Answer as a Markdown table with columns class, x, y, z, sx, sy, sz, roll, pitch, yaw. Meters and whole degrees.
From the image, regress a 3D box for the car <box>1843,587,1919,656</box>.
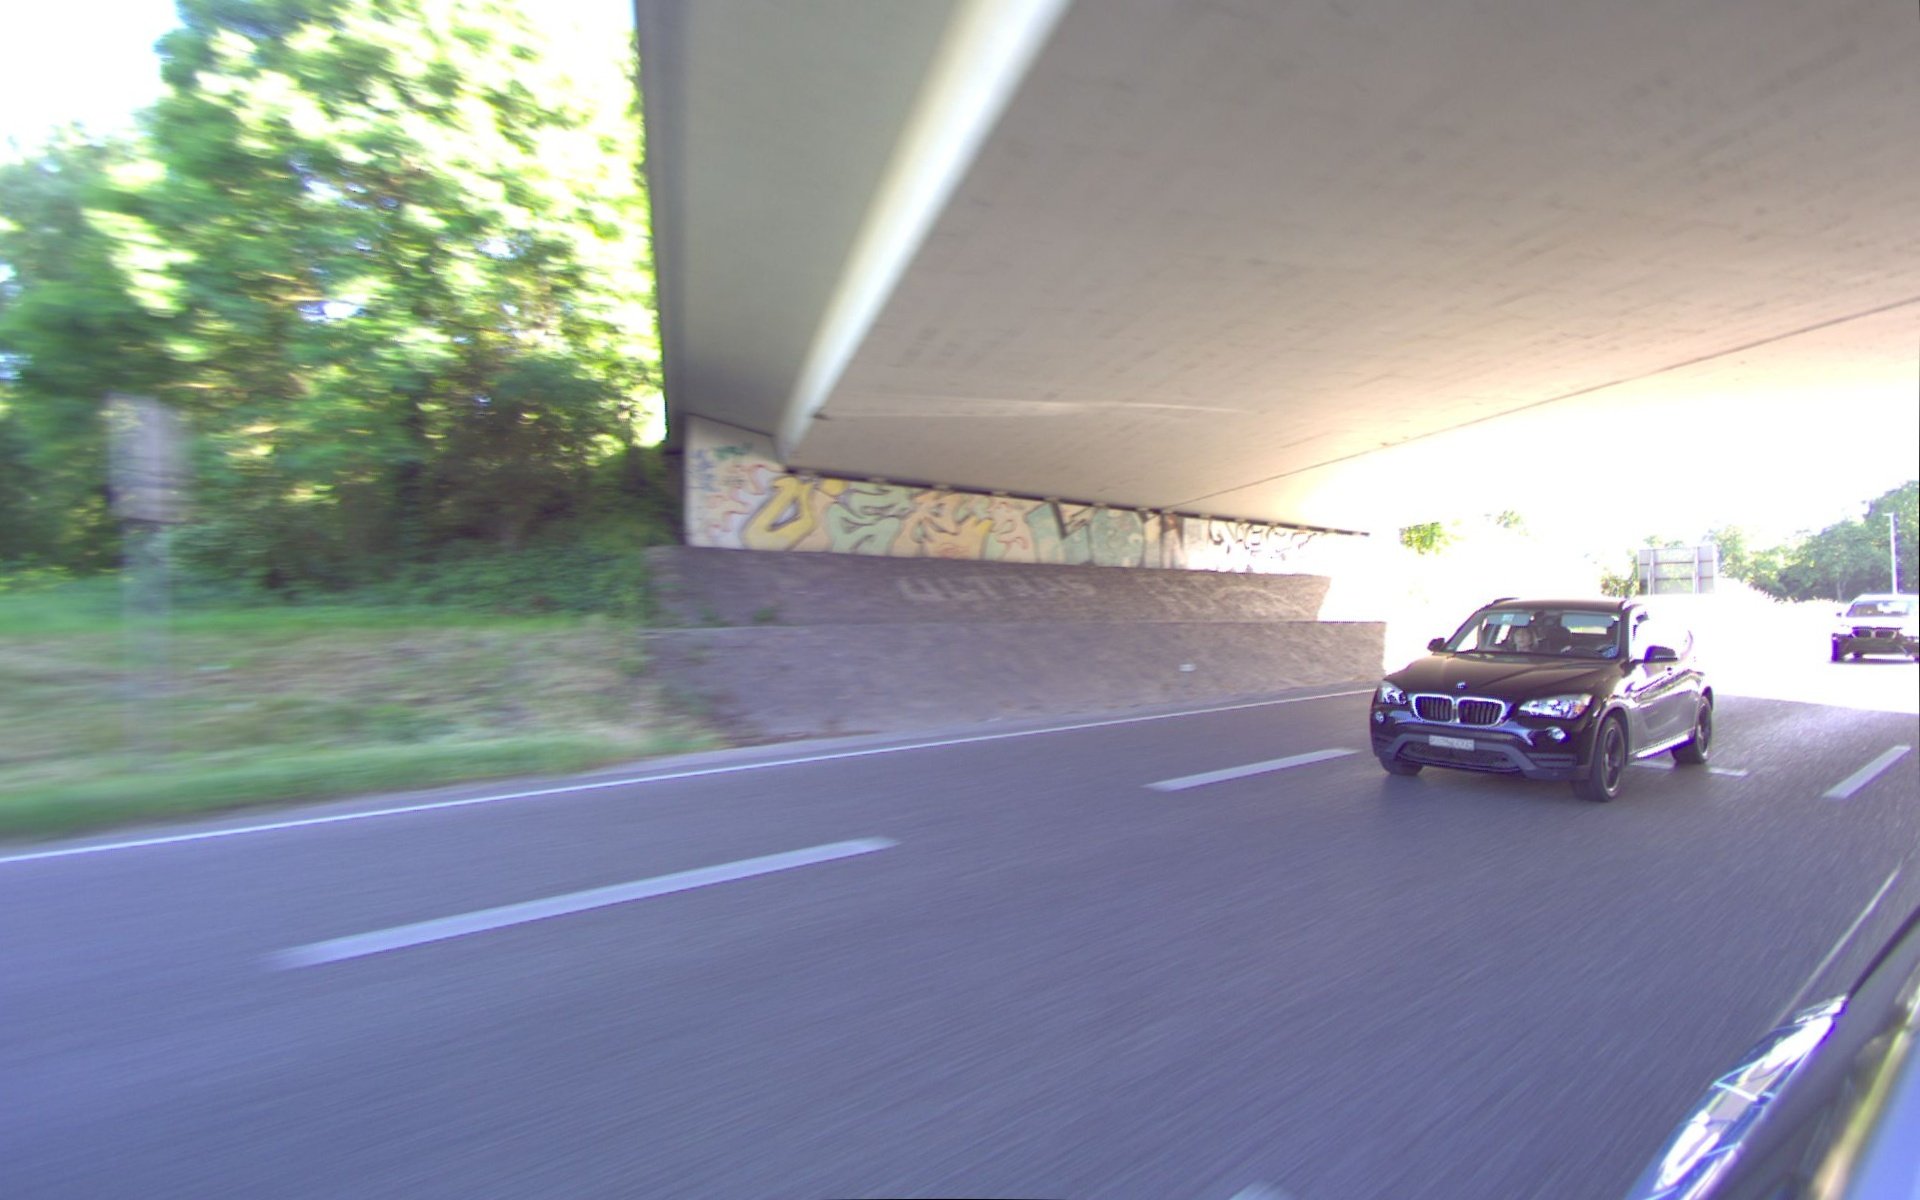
| class | x | y | z | sx | sy | sz | roll | pitch | yaw |
| --- | --- | --- | --- | --- | --- | --- | --- | --- | --- |
| car | 23.650 | 0.480 | 25.358 | 4.443 | 1.593 | 1.758 | -1 | 1 | -42 |

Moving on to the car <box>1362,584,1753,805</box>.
| class | x | y | z | sx | sy | sz | roll | pitch | yaw |
| --- | --- | --- | --- | --- | --- | --- | --- | --- | --- |
| car | 5.574 | 0.626 | 9.172 | 4.499 | 1.525 | 1.702 | -1 | 1 | -41 |
